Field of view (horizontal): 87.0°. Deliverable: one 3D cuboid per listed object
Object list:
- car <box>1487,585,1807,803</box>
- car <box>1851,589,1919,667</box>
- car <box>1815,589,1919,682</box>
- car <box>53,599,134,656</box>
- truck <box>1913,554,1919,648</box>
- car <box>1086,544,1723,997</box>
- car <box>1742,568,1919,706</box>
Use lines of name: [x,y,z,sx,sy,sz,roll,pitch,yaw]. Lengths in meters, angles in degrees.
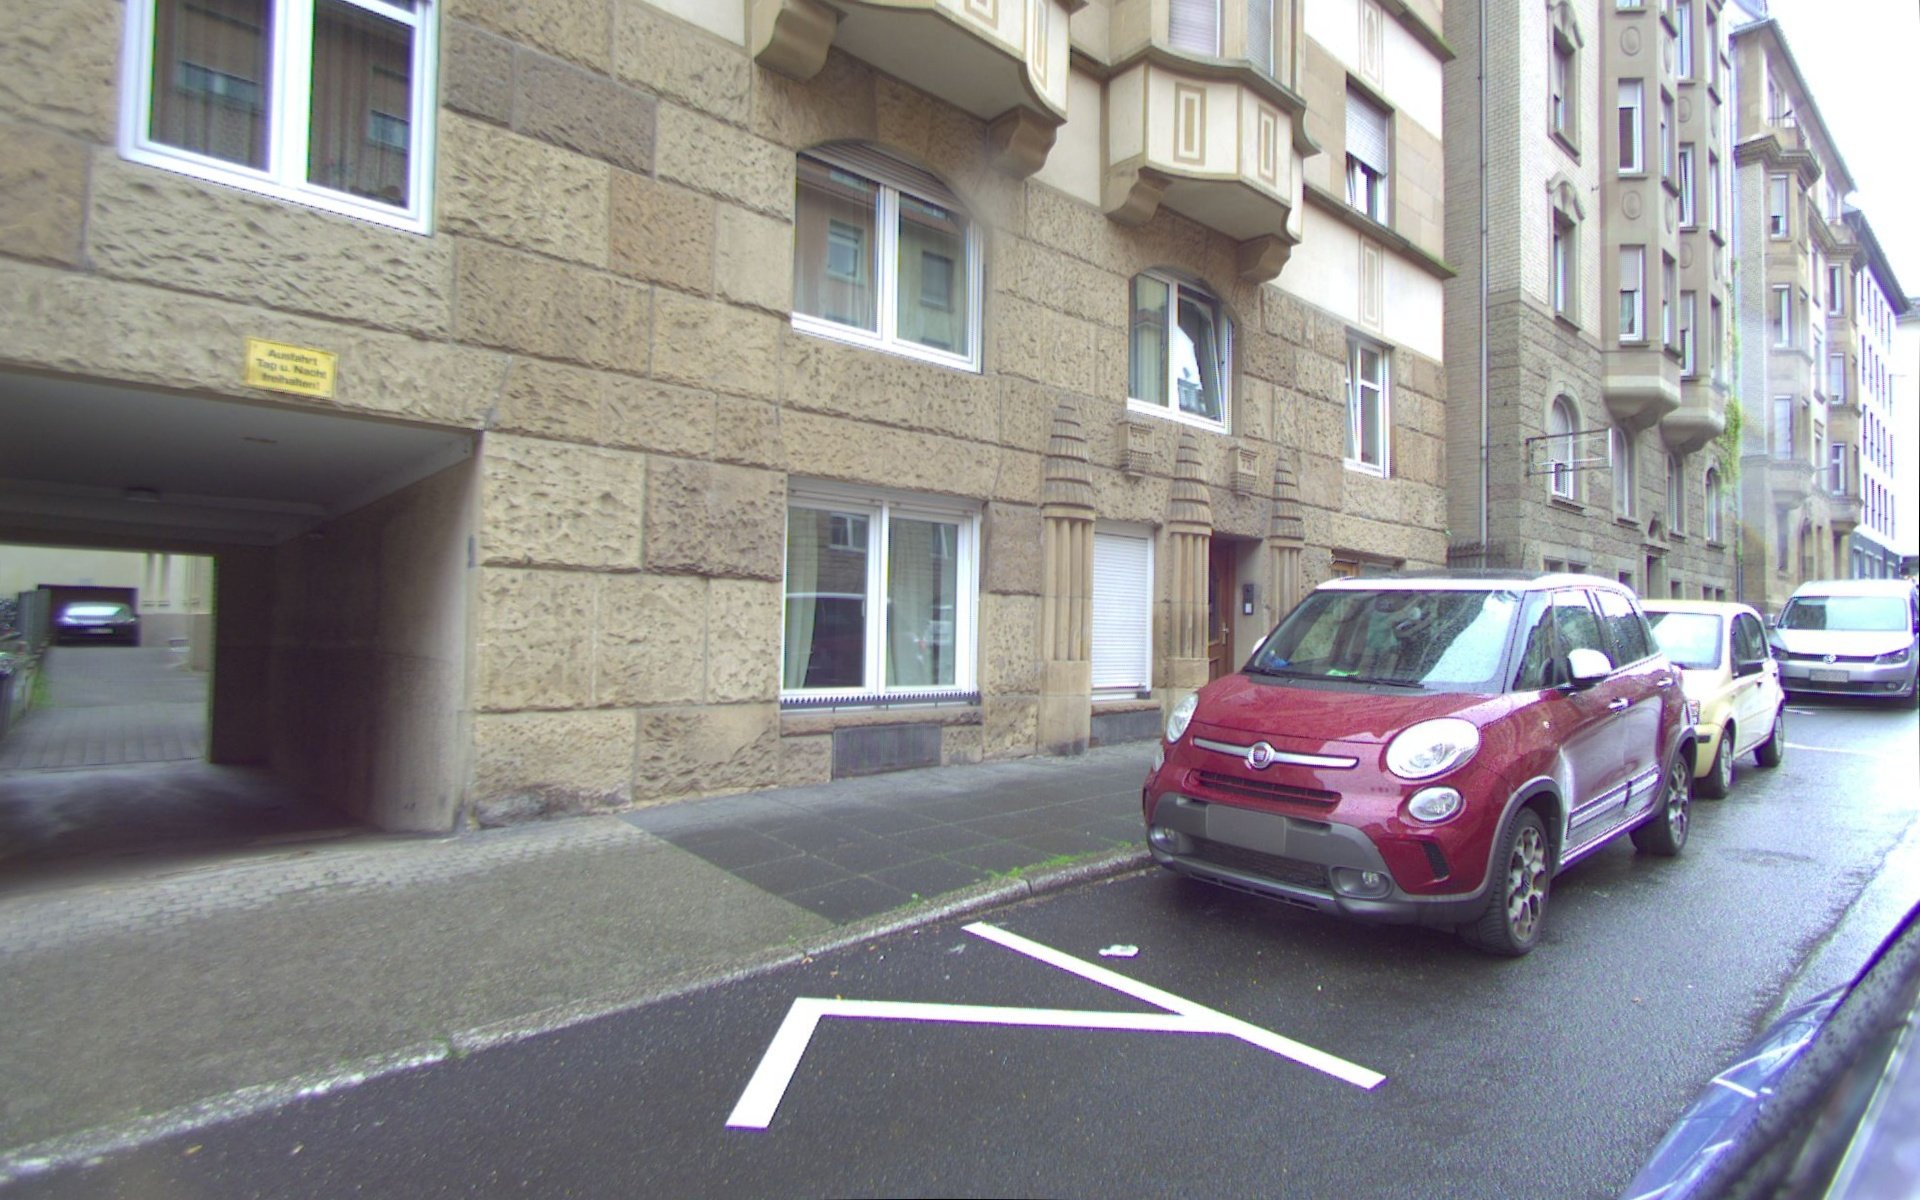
car: [6.195,0.675,8.989,3.517,1.549,1.578,0,-1,-43]
car: [20.473,0.544,21.436,3.860,1.549,1.889,0,-1,-41]
car: [17.167,0.597,18.496,3.934,1.549,1.994,0,-1,-45]
car: [-25.188,0.757,29.455,1.692,1.541,4.098,0,-1,-41]
truck: [29.159,0.018,28.874,6.036,2.568,2.234,0,-1,-41]
car: [2.673,0.612,5.627,3.932,1.619,1.804,0,-1,-42]
car: [13.759,0.498,15.505,4.380,1.825,1.966,0,-1,-41]
